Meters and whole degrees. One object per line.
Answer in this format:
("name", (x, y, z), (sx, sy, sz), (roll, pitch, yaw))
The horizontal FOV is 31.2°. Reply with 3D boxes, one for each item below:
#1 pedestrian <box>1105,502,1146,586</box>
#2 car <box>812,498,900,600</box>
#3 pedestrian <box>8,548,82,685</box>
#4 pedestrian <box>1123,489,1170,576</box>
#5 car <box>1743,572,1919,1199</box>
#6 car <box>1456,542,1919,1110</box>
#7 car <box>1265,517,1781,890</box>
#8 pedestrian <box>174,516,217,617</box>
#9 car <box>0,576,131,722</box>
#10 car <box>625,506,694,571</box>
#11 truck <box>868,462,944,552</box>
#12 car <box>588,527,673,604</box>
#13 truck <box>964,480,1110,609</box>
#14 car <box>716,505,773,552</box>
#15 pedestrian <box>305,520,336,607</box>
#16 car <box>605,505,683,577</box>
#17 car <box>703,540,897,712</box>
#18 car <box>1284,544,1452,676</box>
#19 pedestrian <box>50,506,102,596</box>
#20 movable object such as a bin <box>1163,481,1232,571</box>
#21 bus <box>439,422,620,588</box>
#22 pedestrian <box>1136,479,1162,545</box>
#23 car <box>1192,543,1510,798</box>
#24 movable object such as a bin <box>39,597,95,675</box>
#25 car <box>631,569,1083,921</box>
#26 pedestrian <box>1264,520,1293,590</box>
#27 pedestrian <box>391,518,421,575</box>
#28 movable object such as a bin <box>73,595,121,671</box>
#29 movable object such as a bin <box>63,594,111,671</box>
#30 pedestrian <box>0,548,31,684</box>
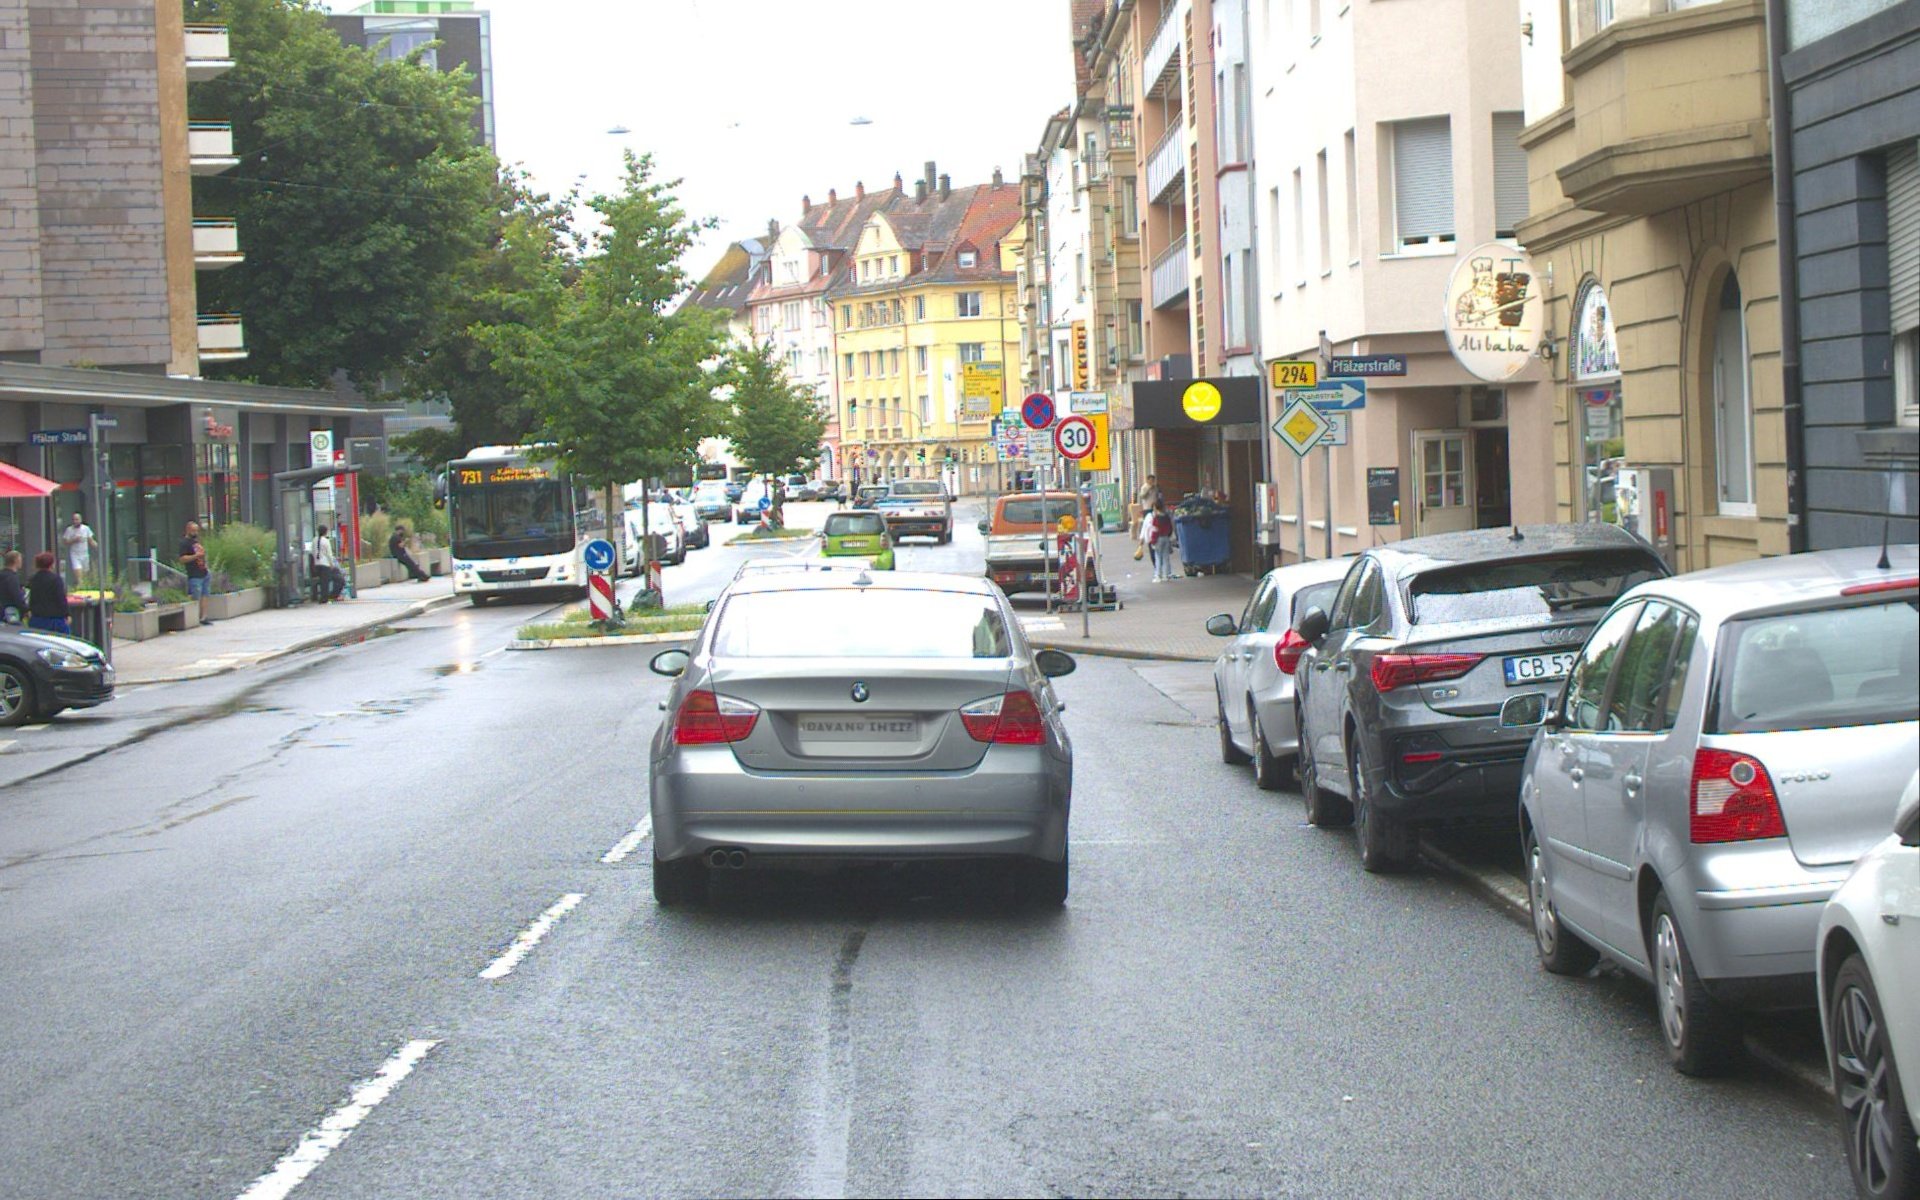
("pedestrian", (3.326, -1.110, 68.896), (0.749, 1.655, 0.836), (1, 0, 6))
("car", (-2.165, -1.027, 70.845), (1.705, 2.007, 4.000), (1, 0, -3))
("pedestrian", (-11.782, 0.201, 44.279), (0.739, 1.703, 0.680), (-4, 2, -21))
("pedestrian", (3.600, -1.291, 66.427), (0.750, 1.655, 0.755), (1, 0, -7))
("car", (2.830, 0.645, 6.304), (1.729, 1.424, 3.974), (-4, 1, -1))
("car", (2.741, 0.587, 11.180), (1.583, 1.424, 3.595), (-4, 1, -1))
("car", (2.697, 0.431, 17.449), (1.818, 1.552, 4.293), (-4, 1, 0))
("pedestrian", (-13.613, -0.602, 61.216), (0.543, 1.784, 0.466), (1, 0, -42))
("car", (-10.238, 0.481, 33.683), (3.815, 1.385, 1.743), (-1, 0, -1))
("car", (-9.790, -1.998, 112.215), (1.993, 2.007, 4.000), (1, 0, -2))
("truck", (-1.655, -2.781, 103.564), (2.216, 2.535, 4.780), (1, 0, -2))
("car", (-9.045, -0.930, 94.595), (1.993, 2.007, 4.000), (2, 0, -2))
("truck", (1.406, -0.958, 60.819), (2.216, 2.109, 4.651), (2, 0, 5))
("car", (-9.669, -3.212, 154.438), (1.994, 2.007, 3.999), (1, 0, 5))
("pedestrian", (-12.654, -0.724, 68.063), (0.542, 1.703, 0.466), (1, 0, -7))
("car", (-9.215, -1.692, 100.405), (1.993, 2.007, 4.000), (1, 0, -2))
("car", (-1.428, 0.217, 30.532), (1.601, 1.415, 3.288), (1, 0, -3))
("car", (4.435, 0.104, 37.783), (1.435, 1.352, 3.762), (1, 0, 1))
("pedestrian", (-16.887, -0.932, 65.664), (0.659, 1.700, 0.660), (1, 0, 32))
("movable object such as a bin", (4.673, -1.453, 67.804), (1.122, 1.697, 1.434), (-3, 0, -3))
("bus", (-9.127, -1.907, 74.149), (2.681, 3.190, 11.956), (1, 0, -2))
("pedestrian", (4.776, -2.218, 86.907), (0.615, 1.655, 0.754), (1, 0, 6))
("car", (2.519, 0.401, 22.995), (1.569, 1.459, 4.089), (-4, 1, 0))
("movable object such as a bin", (-12.586, 0.503, 48.456), (0.554, 1.077, 0.731), (-3, 0, 0))
("car", (-0.421, 0.565, 14.971), (1.756, 1.358, 3.165), (0, 0, -1))
("pedestrian", (5.654, -0.801, 61.109), (0.412, 1.199, 0.357), (-4, 2, 2))
("pedestrian", (-13.517, -1.293, 83.950), (0.619, 1.373, 0.544), (1, 0, 1))
("movable object such as a bin", (-12.525, 0.483, 49.898), (0.490, 1.077, 0.606), (-3, 0, 0))
("movable object such as a bin", (-12.500, 0.464, 49.219), (0.490, 1.077, 0.606), (-3, 0, 0))
("pedestrian", (-12.020, 0.195, 43.451), (0.464, 1.703, 0.545), (1, 0, -21))
